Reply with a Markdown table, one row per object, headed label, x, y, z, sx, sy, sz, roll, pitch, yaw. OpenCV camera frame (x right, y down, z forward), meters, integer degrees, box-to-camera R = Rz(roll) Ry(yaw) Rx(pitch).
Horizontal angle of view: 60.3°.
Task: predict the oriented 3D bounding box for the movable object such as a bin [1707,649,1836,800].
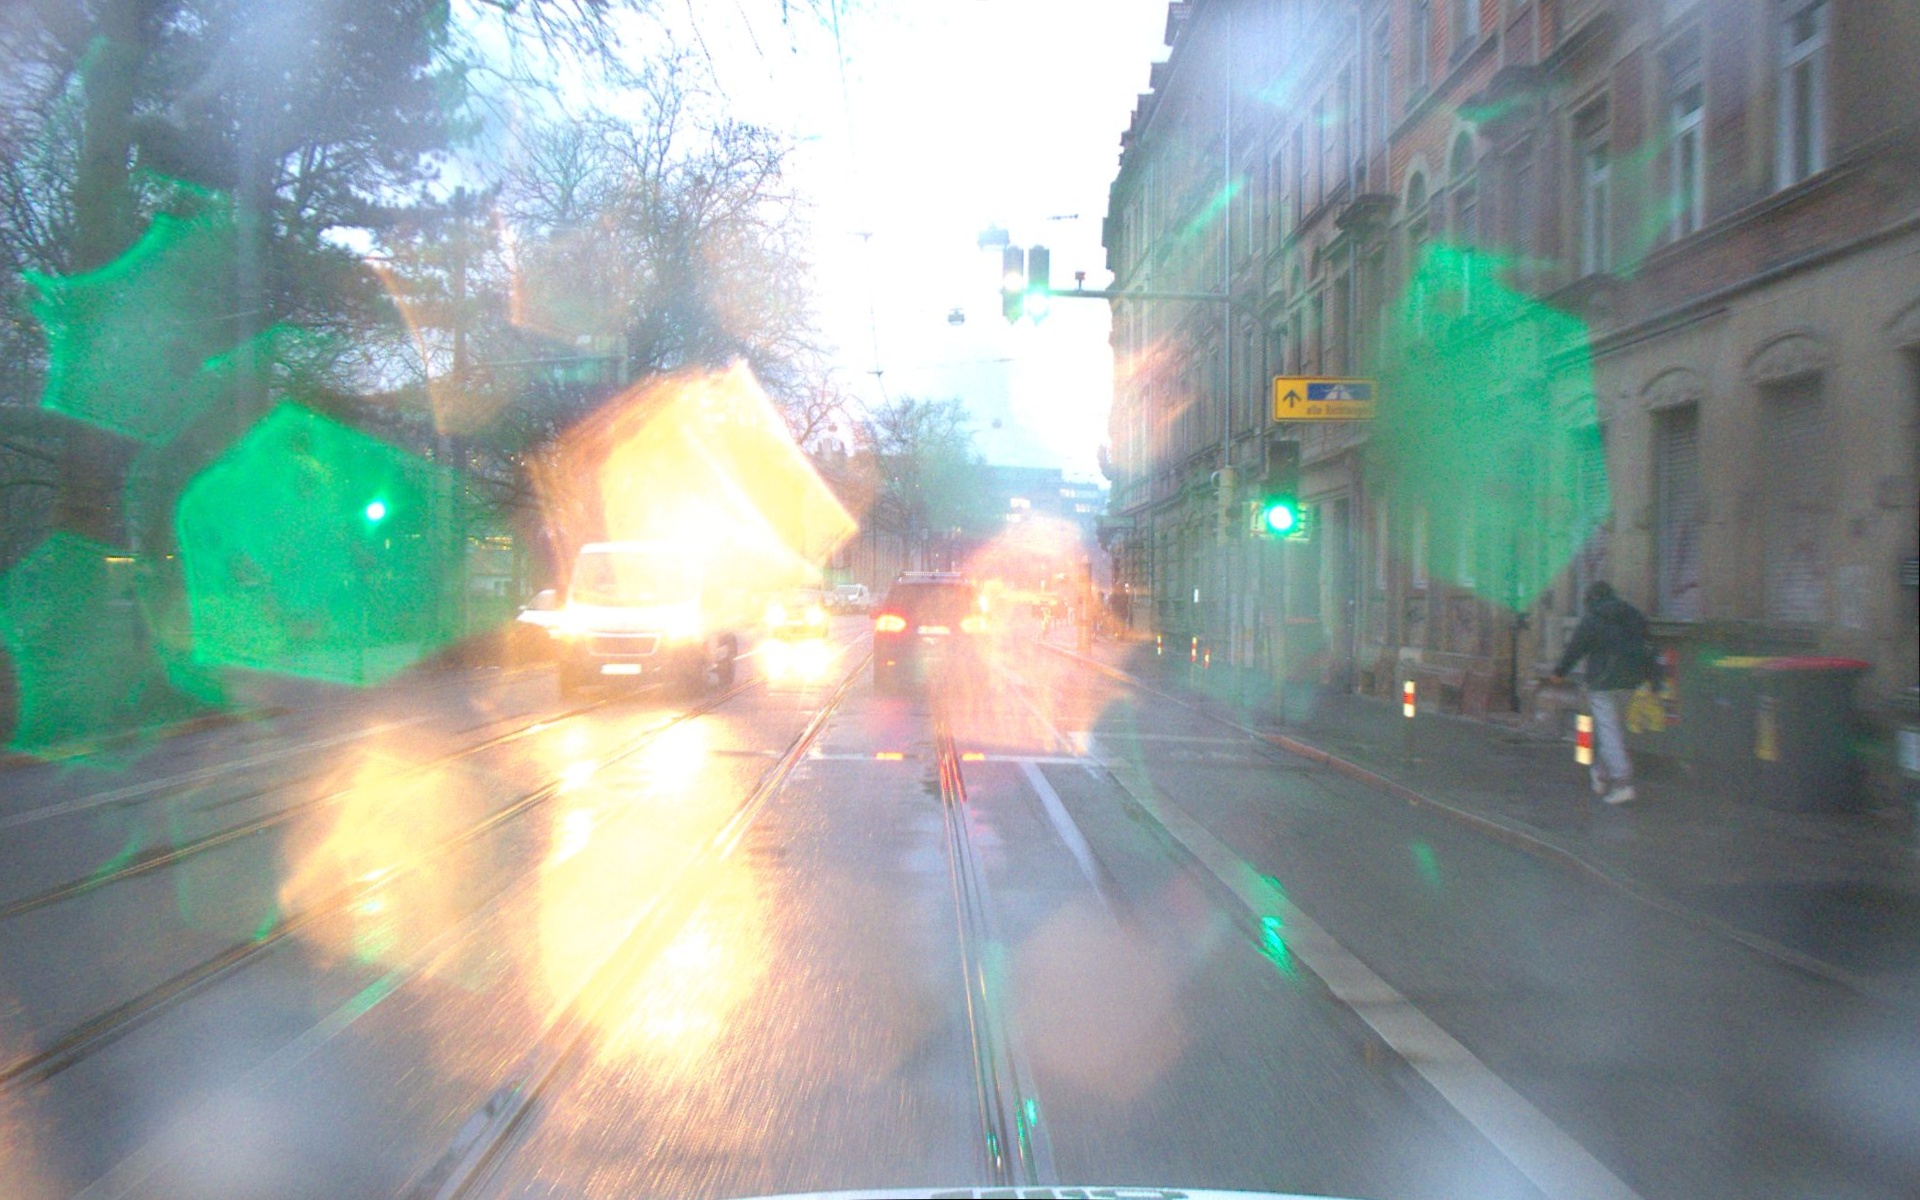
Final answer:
| label | x | y | z | sx | sy | sz | roll | pitch | yaw |
| --- | --- | --- | --- | --- | --- | --- | --- | --- | --- |
| movable object such as a bin | 6.025 | 0.907 | 12.305 | 0.748 | 1.056 | 0.600 | 0 | 0 | 14 |

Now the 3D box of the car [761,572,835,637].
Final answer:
| label | x | y | z | sx | sy | sz | roll | pitch | yaw |
| --- | --- | --- | --- | --- | --- | --- | --- | --- | --- |
| car | -5.333 | 0.150 | 54.938 | 1.952 | 2.049 | 4.000 | 1 | 0 | 1 |

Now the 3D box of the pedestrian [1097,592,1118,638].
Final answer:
| label | x | y | z | sx | sy | sz | roll | pitch | yaw |
| --- | --- | --- | --- | --- | --- | --- | --- | --- | --- |
| pedestrian | 5.874 | 0.614 | 65.858 | 0.756 | 1.806 | 0.684 | 1 | -1 | -1 |

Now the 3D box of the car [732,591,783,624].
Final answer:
| label | x | y | z | sx | sy | sz | roll | pitch | yaw |
| --- | --- | --- | --- | --- | --- | --- | --- | --- | --- |
| car | -10.419 | 0.382 | 85.324 | 1.943 | 1.644 | 4.430 | 1 | 0 | 2 |

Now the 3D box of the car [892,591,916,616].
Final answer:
| label | x | y | z | sx | sy | sz | roll | pitch | yaw |
| --- | --- | --- | --- | --- | --- | --- | --- | --- | --- |
| car | -4.739 | 0.334 | 140.115 | 1.953 | 2.049 | 3.999 | 1 | 0 | -1 |

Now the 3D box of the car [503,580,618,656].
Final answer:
| label | x | y | z | sx | sy | sz | roll | pitch | yaw |
| --- | --- | --- | --- | --- | --- | --- | --- | --- | --- |
| car | -9.210 | 0.402 | 38.491 | 1.945 | 1.644 | 4.424 | 1 | 0 | -5 |

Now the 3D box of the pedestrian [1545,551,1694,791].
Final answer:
| label | x | y | z | sx | sy | sz | roll | pitch | yaw |
| --- | --- | --- | --- | --- | --- | --- | --- | --- | --- |
| pedestrian | 4.966 | 0.514 | 12.517 | 0.817 | 1.731 | 0.954 | 1 | -1 | 7 |

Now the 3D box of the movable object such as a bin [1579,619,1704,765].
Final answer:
| label | x | y | z | sx | sy | sz | roll | pitch | yaw |
| --- | --- | --- | --- | --- | --- | --- | --- | --- | --- |
| movable object such as a bin | 5.983 | 0.788 | 14.555 | 0.749 | 1.232 | 0.818 | 0 | 0 | -1 |

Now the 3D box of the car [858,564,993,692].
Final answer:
| label | x | y | z | sx | sy | sz | roll | pitch | yaw |
| --- | --- | --- | --- | --- | --- | --- | --- | --- | --- |
| car | -0.474 | 0.409 | 26.480 | 1.952 | 1.874 | 4.001 | 1 | 0 | 1 |

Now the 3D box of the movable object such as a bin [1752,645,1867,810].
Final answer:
| label | x | y | z | sx | sy | sz | roll | pitch | yaw |
| --- | --- | --- | --- | --- | --- | --- | --- | --- | --- |
| movable object such as a bin | 5.984 | 0.880 | 11.673 | 0.598 | 1.101 | 0.600 | 0 | 0 | 14 |

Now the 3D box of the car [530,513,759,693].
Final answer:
| label | x | y | z | sx | sy | sz | roll | pitch | yaw |
| --- | --- | --- | --- | --- | --- | --- | --- | --- | --- |
| car | -4.558 | 0.047 | 24.948 | 2.397 | 2.388 | 5.843 | 0 | 0 | -1 |

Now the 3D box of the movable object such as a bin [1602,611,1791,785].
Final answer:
| label | x | y | z | sx | sy | sz | roll | pitch | yaw |
| --- | --- | --- | --- | --- | --- | --- | --- | --- | --- |
| movable object such as a bin | 5.922 | 0.755 | 13.370 | 0.871 | 1.311 | 1.260 | 0 | 0 | -8 |

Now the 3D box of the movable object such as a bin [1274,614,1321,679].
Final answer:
| label | x | y | z | sx | sy | sz | roll | pitch | yaw |
| --- | --- | --- | --- | --- | --- | --- | --- | --- | --- |
| movable object such as a bin | 5.733 | 0.789 | 28.121 | 0.627 | 1.073 | 0.744 | 1 | 0 | -1 |

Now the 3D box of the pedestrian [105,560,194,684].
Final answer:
| label | x | y | z | sx | sy | sz | roll | pitch | yaw |
| --- | --- | --- | --- | --- | --- | --- | --- | --- | --- |
| pedestrian | -12.445 | 0.333 | 25.429 | 0.803 | 1.847 | 1.010 | 1 | -1 | 2 |

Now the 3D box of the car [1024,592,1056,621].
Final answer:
| label | x | y | z | sx | sy | sz | roll | pitch | yaw |
| --- | --- | --- | --- | --- | --- | --- | --- | --- | --- |
| car | 5.236 | 0.416 | 108.727 | 1.952 | 1.874 | 4.001 | 1 | 0 | 1 |

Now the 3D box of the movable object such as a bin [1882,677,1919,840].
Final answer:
| label | x | y | z | sx | sy | sz | roll | pitch | yaw |
| --- | --- | --- | --- | --- | --- | --- | --- | --- | --- |
| movable object such as a bin | 5.979 | 0.948 | 9.935 | 0.599 | 0.945 | 0.491 | 0 | 0 | -3 |

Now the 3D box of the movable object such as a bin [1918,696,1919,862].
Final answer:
| label | x | y | z | sx | sy | sz | roll | pitch | yaw |
| --- | --- | --- | --- | --- | --- | --- | --- | --- | --- |
| movable object such as a bin | 5.780 | 1.022 | 9.374 | 0.482 | 0.945 | 0.421 | 0 | 0 | -28 |

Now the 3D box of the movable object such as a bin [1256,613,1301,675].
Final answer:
| label | x | y | z | sx | sy | sz | roll | pitch | yaw |
| --- | --- | --- | --- | --- | --- | --- | --- | --- | --- |
| movable object such as a bin | 5.706 | 0.784 | 29.653 | 0.627 | 1.073 | 0.744 | 1 | 0 | -1 |

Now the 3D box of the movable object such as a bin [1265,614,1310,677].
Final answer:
| label | x | y | z | sx | sy | sz | roll | pitch | yaw |
| --- | --- | --- | --- | --- | --- | --- | --- | --- | --- |
| movable object such as a bin | 5.716 | 0.792 | 28.889 | 0.627 | 1.073 | 0.744 | 1 | 0 | -1 |

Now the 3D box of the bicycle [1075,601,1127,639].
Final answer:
| label | x | y | z | sx | sy | sz | roll | pitch | yaw |
| --- | --- | --- | --- | --- | --- | --- | --- | --- | --- |
| bicycle | 4.489 | 0.640 | 52.743 | 0.781 | 1.164 | 2.230 | 1 | 0 | -20 |

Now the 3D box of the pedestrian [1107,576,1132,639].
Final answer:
| label | x | y | z | sx | sy | sz | roll | pitch | yaw |
| --- | --- | --- | --- | --- | --- | --- | --- | --- | --- |
| pedestrian | 5.116 | 0.229 | 52.969 | 0.701 | 1.987 | 0.657 | 1 | -1 | -1 |
